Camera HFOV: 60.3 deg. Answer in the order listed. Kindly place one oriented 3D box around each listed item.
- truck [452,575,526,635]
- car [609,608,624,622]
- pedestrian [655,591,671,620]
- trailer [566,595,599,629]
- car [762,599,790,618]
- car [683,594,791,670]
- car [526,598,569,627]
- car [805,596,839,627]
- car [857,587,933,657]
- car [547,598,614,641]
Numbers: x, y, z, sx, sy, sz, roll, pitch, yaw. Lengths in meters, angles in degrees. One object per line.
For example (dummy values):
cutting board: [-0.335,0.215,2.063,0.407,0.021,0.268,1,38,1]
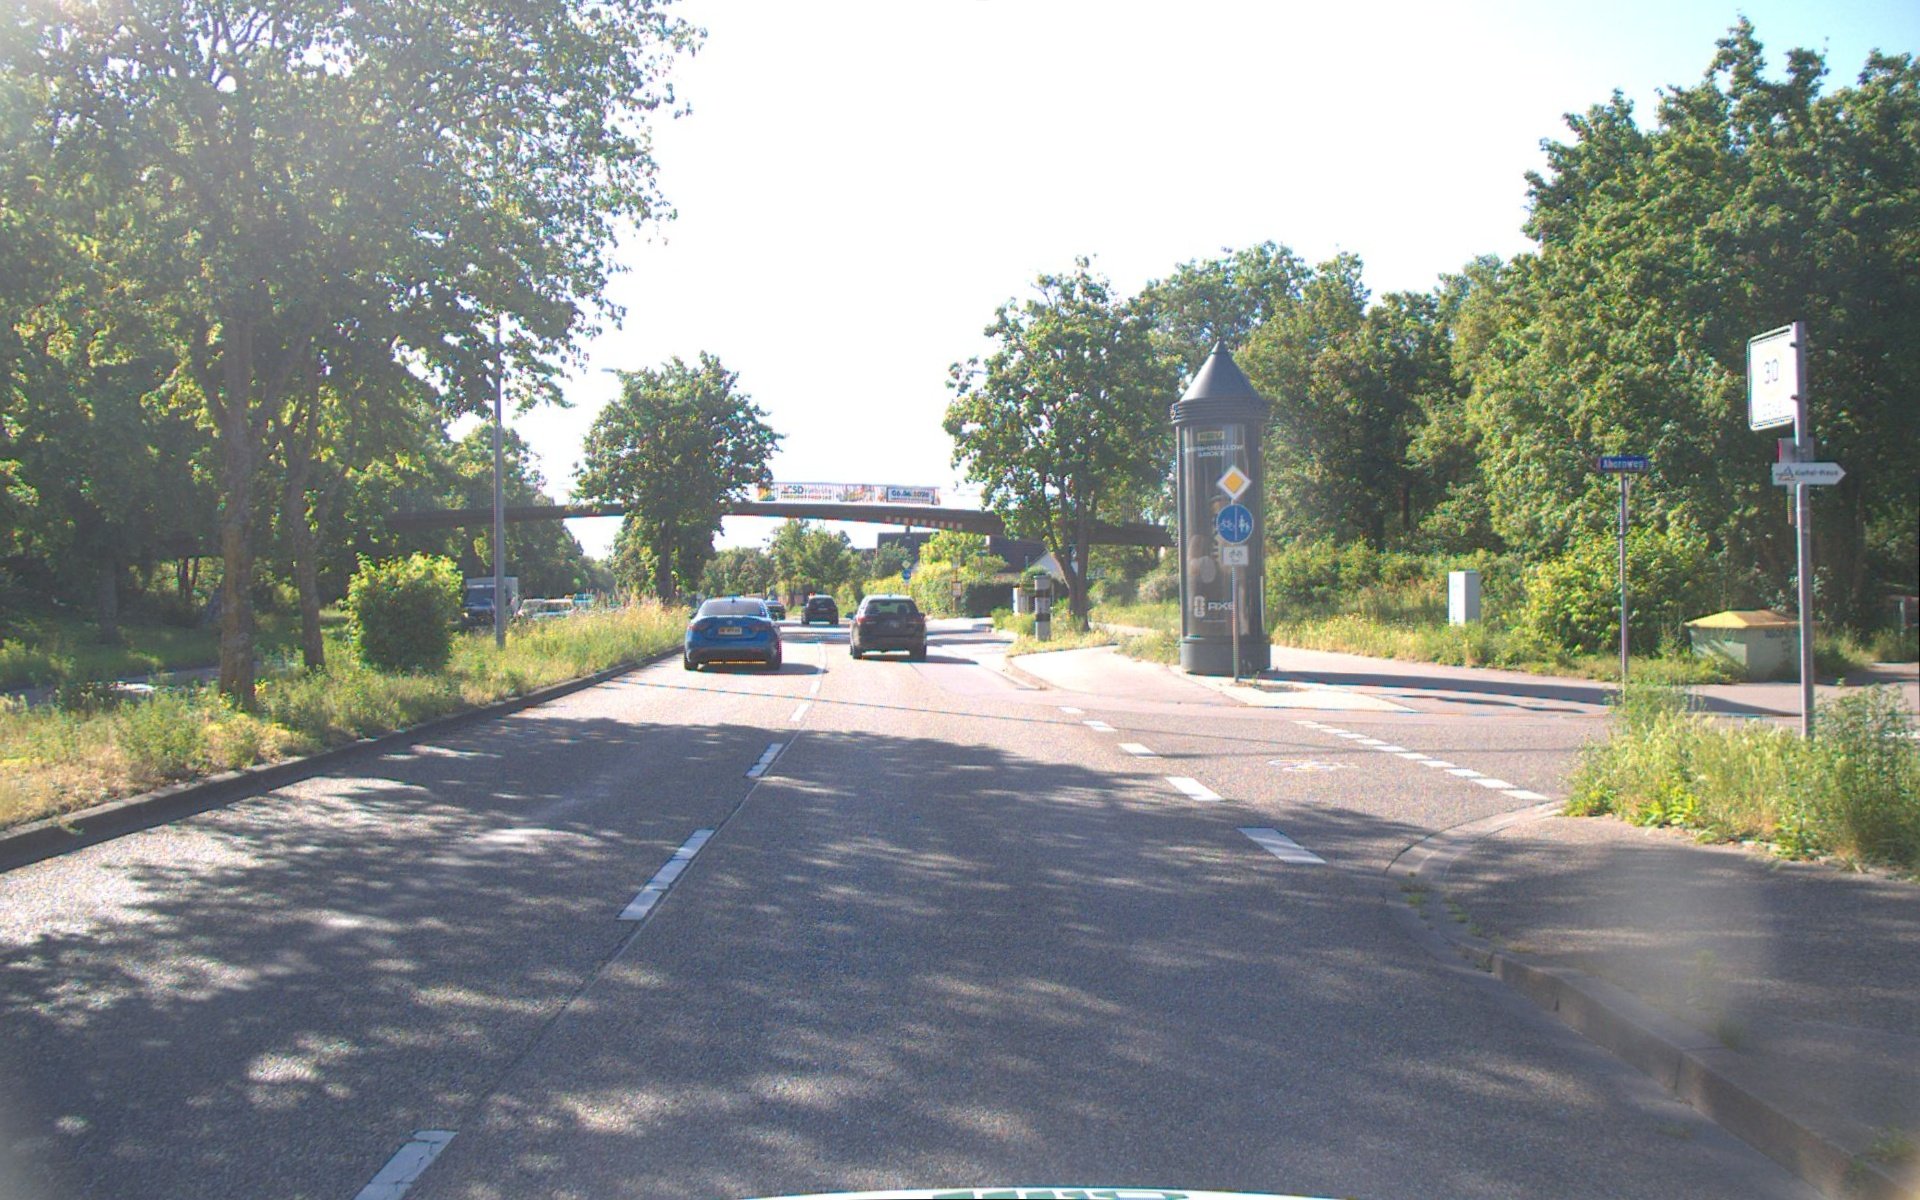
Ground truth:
truck: [-21.474,0.201,75.584,2.130,2.556,5.735,-3,0,-6]
car: [-42.987,1.892,207.055,1.700,1.660,4.185,-1,0,-12]
pedestrian: [-18.191,0.343,101.263,0.617,1.726,0.943,-1,0,19]
trailer: [-22.097,0.687,96.924,1.533,1.943,4.274,-1,0,-8]
car: [-13.934,0.613,125.178,1.864,1.379,3.990,-1,0,-10]
car: [-4.482,0.602,33.724,1.956,1.429,3.996,-1,0,-5]
car: [-24.486,0.722,98.335,1.821,1.634,4.362,-2,0,-6]
car: [-7.414,0.588,88.413,1.710,1.625,4.169,0,0,-6]
car: [-1.543,0.534,39.820,1.725,1.587,3.998,1,-1,-2]
car: [-15.714,0.784,68.764,1.820,1.634,5.570,-2,0,-4]
